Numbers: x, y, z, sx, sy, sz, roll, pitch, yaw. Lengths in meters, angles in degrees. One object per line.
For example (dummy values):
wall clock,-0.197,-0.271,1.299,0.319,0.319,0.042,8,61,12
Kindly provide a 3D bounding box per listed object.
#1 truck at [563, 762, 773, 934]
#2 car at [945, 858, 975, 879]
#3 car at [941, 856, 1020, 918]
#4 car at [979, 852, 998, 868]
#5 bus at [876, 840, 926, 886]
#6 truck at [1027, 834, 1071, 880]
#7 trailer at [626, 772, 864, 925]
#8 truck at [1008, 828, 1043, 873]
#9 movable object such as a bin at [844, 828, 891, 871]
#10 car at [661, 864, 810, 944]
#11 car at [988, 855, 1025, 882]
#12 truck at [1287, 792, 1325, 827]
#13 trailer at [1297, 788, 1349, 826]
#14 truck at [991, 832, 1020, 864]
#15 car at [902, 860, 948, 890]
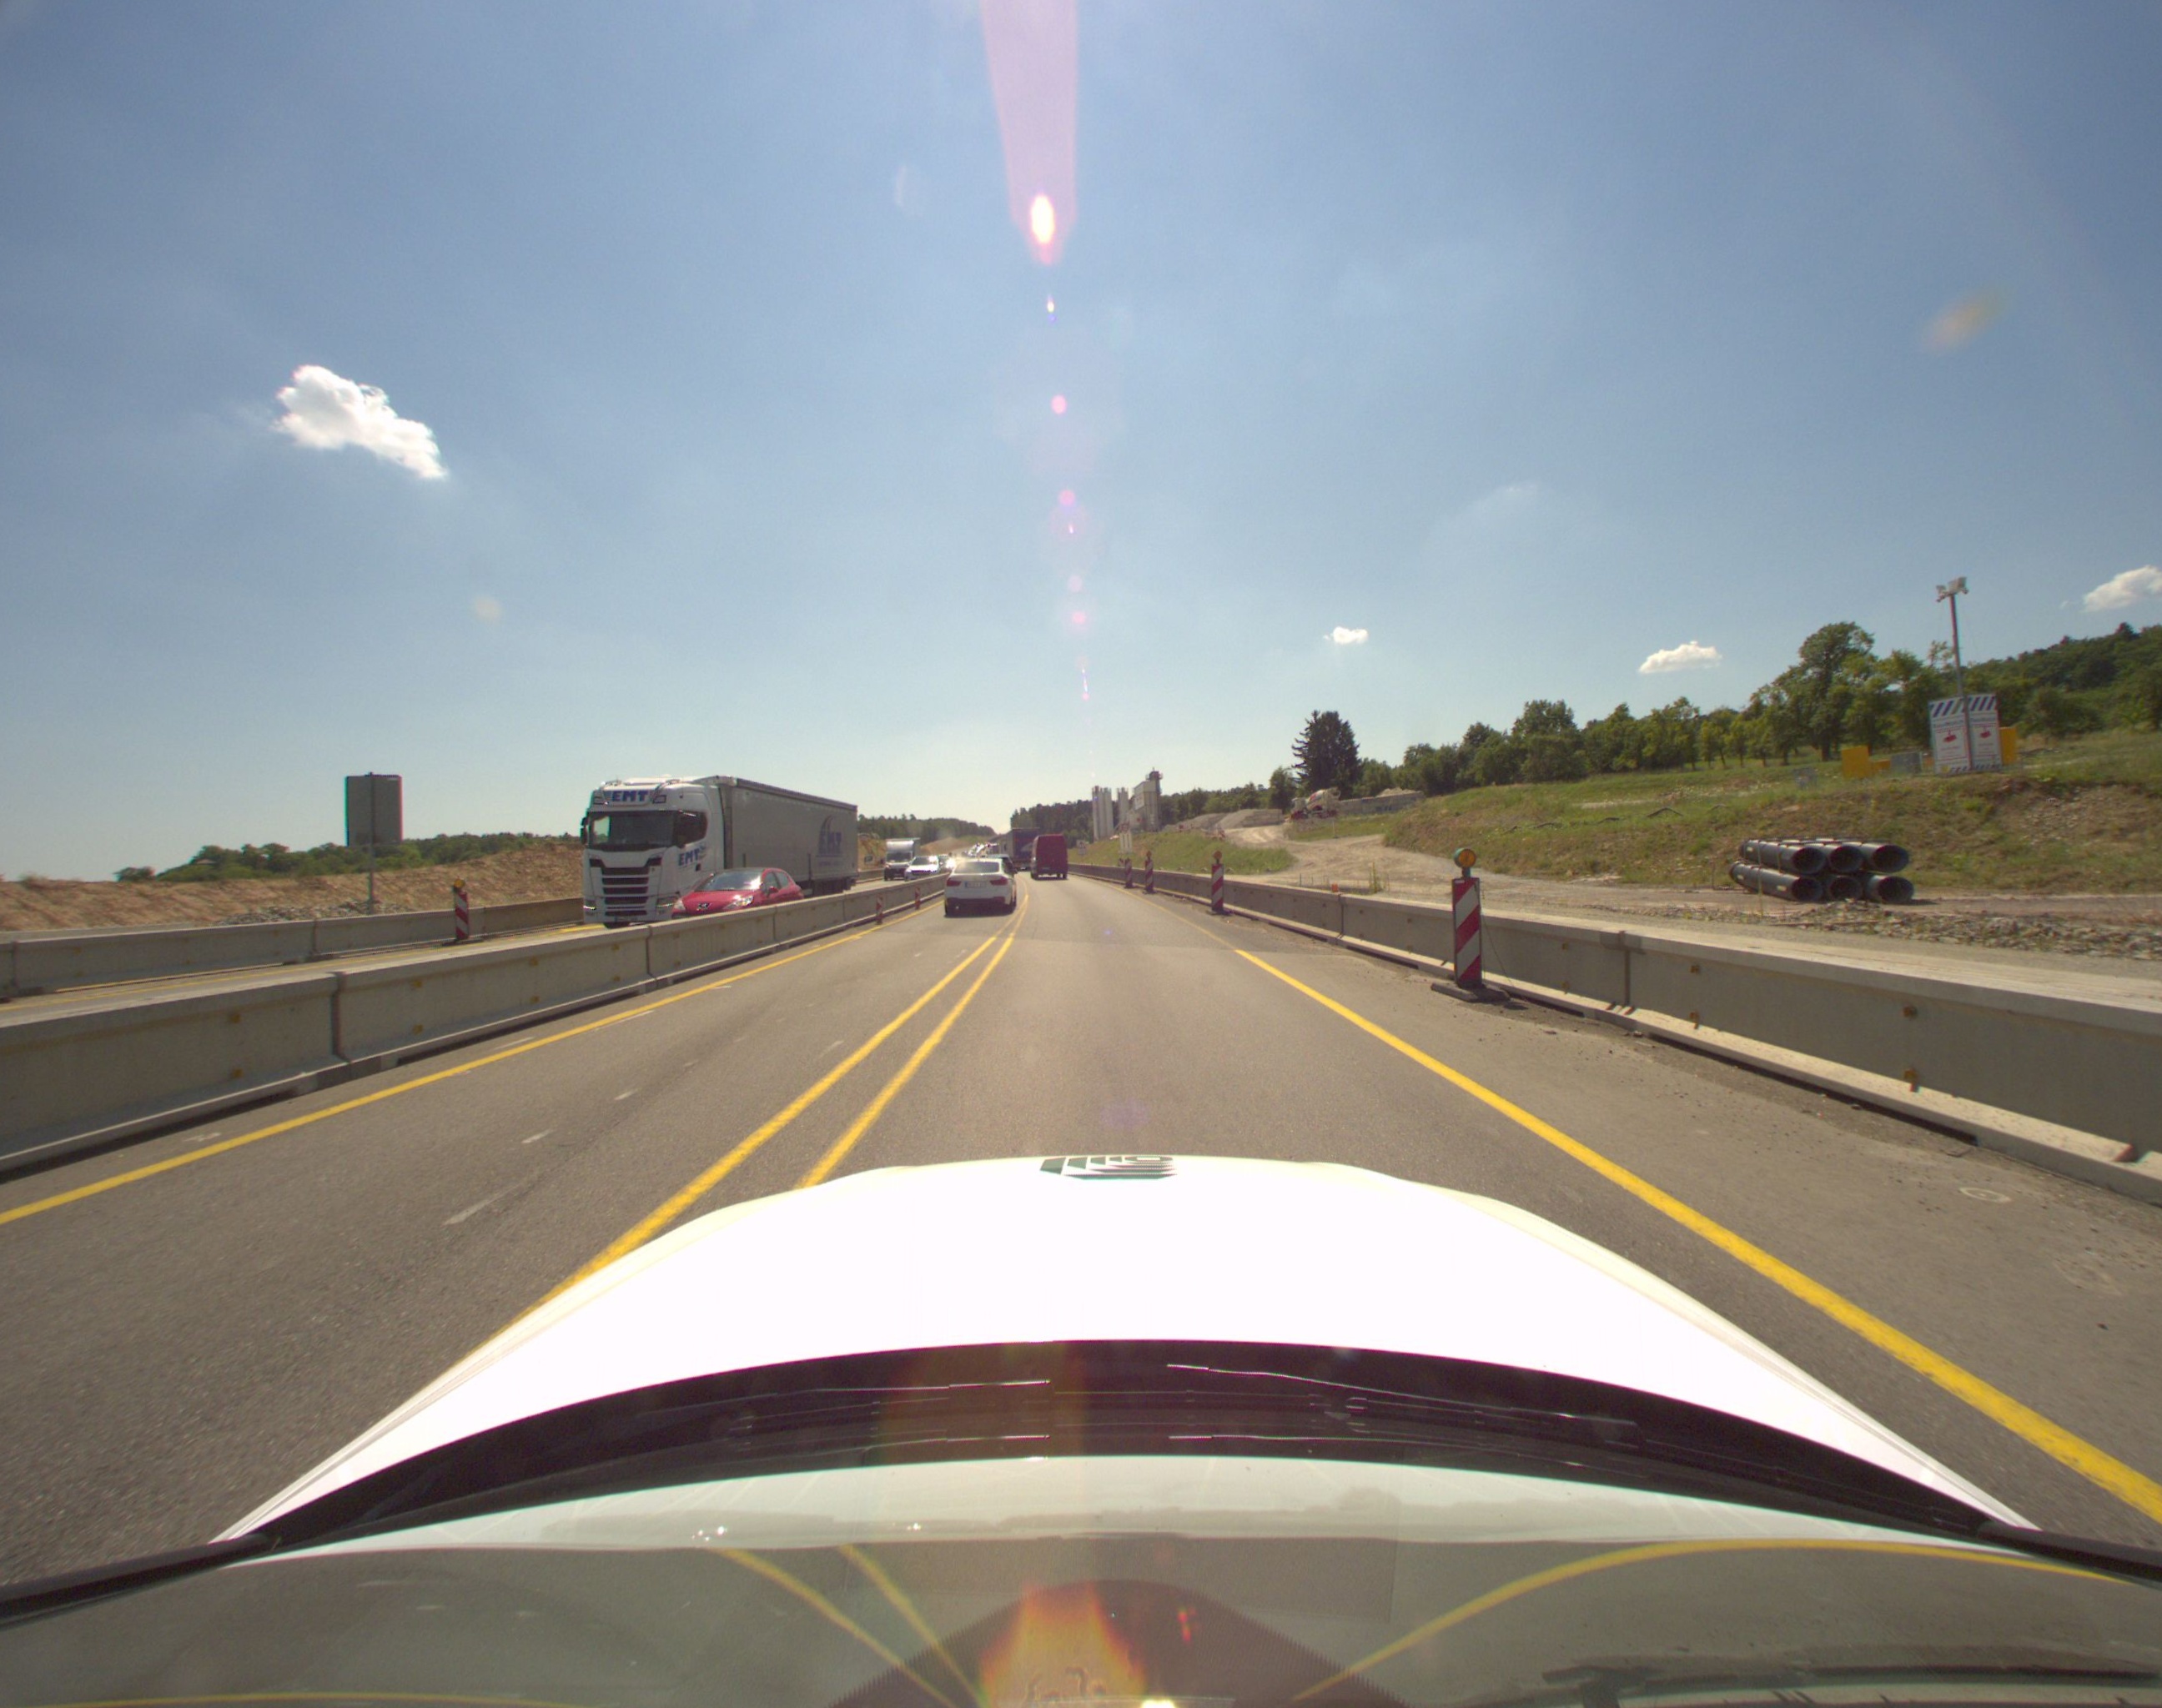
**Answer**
truck,-11.079,-0.149,22.540,2.691,4.062,5.503,-3,0,2
car,-9.327,1.089,63.128,1.804,1.414,4.394,-3,0,-3
car,-2.783,0.855,23.510,1.790,1.534,5.069,-1,0,-2
car,-10.029,0.656,88.232,1.798,1.579,3.994,-3,0,-4
bus,-13.247,0.624,60.378,2.344,3.125,7.219,-3,0,-4
truck,-2.074,0.182,50.908,2.110,2.633,6.468,-3,0,-7
trailer,-11.161,-0.164,29.536,2.752,4.114,13.973,-3,0,0
truck,-5.641,-0.325,81.457,3.012,4.152,8.253,-3,0,-7
movable object such as a bin,-40.092,-0.891,153.244,7.628,7.713,3.438,-3,0,-6
car,-7.621,1.036,18.394,1.664,1.475,3.968,-3,0,-1
car,-4.603,0.876,50.785,1.789,1.534,3.931,-3,0,0
truck,28.389,-5.571,102.965,2.751,4.095,4.078,-3,0,-16
trailer,29.416,-5.620,99.339,2.762,4.114,6.709,-3,0,-16
truck,-11.528,-0.888,125.481,3.674,4.691,9.743,-3,0,-2
car,-8.693,1.133,45.700,1.792,1.475,4.772,-3,0,-3
